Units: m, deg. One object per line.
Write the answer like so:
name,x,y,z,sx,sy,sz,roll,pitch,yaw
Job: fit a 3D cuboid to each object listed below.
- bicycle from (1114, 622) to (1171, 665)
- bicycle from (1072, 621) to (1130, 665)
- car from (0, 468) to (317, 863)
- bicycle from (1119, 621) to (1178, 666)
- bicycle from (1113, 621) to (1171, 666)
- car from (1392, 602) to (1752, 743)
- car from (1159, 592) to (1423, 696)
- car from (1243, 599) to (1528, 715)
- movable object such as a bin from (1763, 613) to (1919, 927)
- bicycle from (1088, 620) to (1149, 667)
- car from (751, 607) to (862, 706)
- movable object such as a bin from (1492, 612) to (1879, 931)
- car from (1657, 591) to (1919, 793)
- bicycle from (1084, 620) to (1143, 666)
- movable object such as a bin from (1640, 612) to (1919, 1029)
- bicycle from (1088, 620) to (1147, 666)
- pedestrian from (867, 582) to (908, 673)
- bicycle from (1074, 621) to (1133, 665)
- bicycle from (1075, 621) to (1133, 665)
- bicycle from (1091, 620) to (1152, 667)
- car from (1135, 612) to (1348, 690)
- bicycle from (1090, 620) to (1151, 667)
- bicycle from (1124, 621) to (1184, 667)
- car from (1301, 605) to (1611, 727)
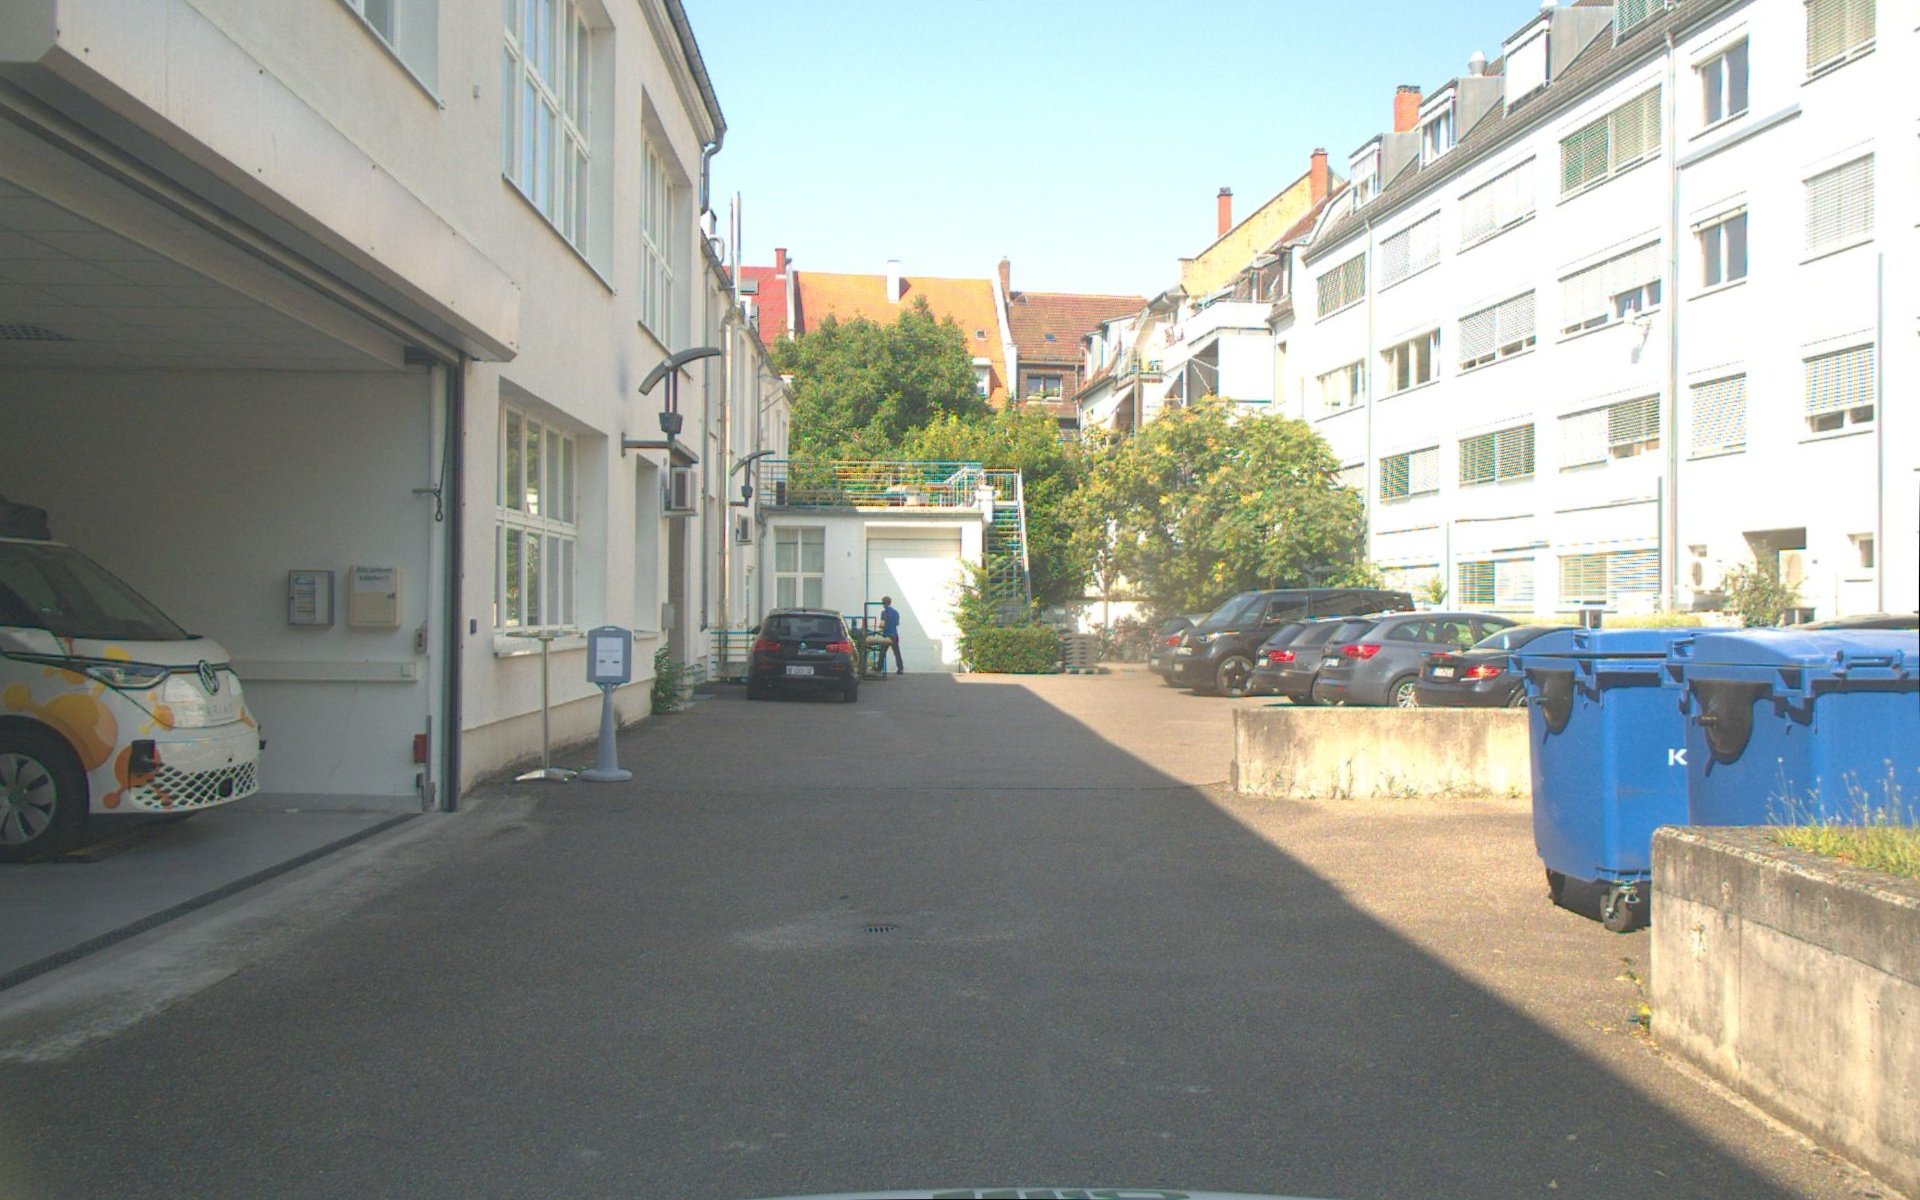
bicycle,5.226,1.241,47.439,1.588,1.235,0.424,0,-1,10
bicycle,4.041,1.220,47.312,1.592,1.235,0.423,0,-1,-7
car,-6.647,0.328,9.982,4.651,2.129,2.055,1,-1,-2
bicycle,5.238,1.209,45.836,1.588,1.235,0.424,0,-1,11
bicycle,5.119,1.218,46.409,1.588,1.235,0.424,0,-1,10
car,7.446,0.880,20.284,3.732,1.617,1.892,1,-1,-12
car,6.057,0.801,30.466,4.420,1.826,1.878,0,-2,-11
car,6.696,0.897,26.282,4.036,1.721,1.769,1,-1,-5
movable object such as a bin,4.646,0.761,7.780,1.209,1.364,1.117,1,-1,1
bicycle,4.275,1.168,44.591,1.590,1.235,0.327,0,-1,-1
car,-2.434,0.893,27.011,1.655,1.485,3.920,1,-1,-3
movable object such as a bin,3.346,0.757,7.774,1.274,1.364,1.194,1,-1,-3
car,8.410,0.728,14.762,3.548,1.572,1.801,-3,-1,-4
bicycle,4.208,1.183,45.404,1.588,1.235,0.327,0,-1,11
movable object such as a bin,3.364,0.741,6.021,1.283,1.364,1.099,1,-1,-5
bicycle,4.296,1.178,45.043,1.588,1.235,0.327,0,-1,8
pedestrian,-1.658,0.635,37.827,0.895,2.049,0.934,1,-1,-2
bicycle,4.002,1.194,46.074,1.590,1.235,0.424,0,-1,-3
bicycle,4.065,1.208,46.710,1.592,1.235,0.423,0,-1,-8
bicycle,4.312,1.163,44.299,1.590,1.235,0.327,0,-1,-1
car,5.638,1.015,33.333,3.862,1.508,1.770,0,-2,-11
bicycle,4.257,1.156,43.975,1.590,1.235,0.327,0,-1,-1
bicycle,5.282,1.192,44.978,1.588,1.235,0.327,-1,-1,13
car,6.972,0.926,23.471,3.788,1.617,1.876,1,-1,-7
